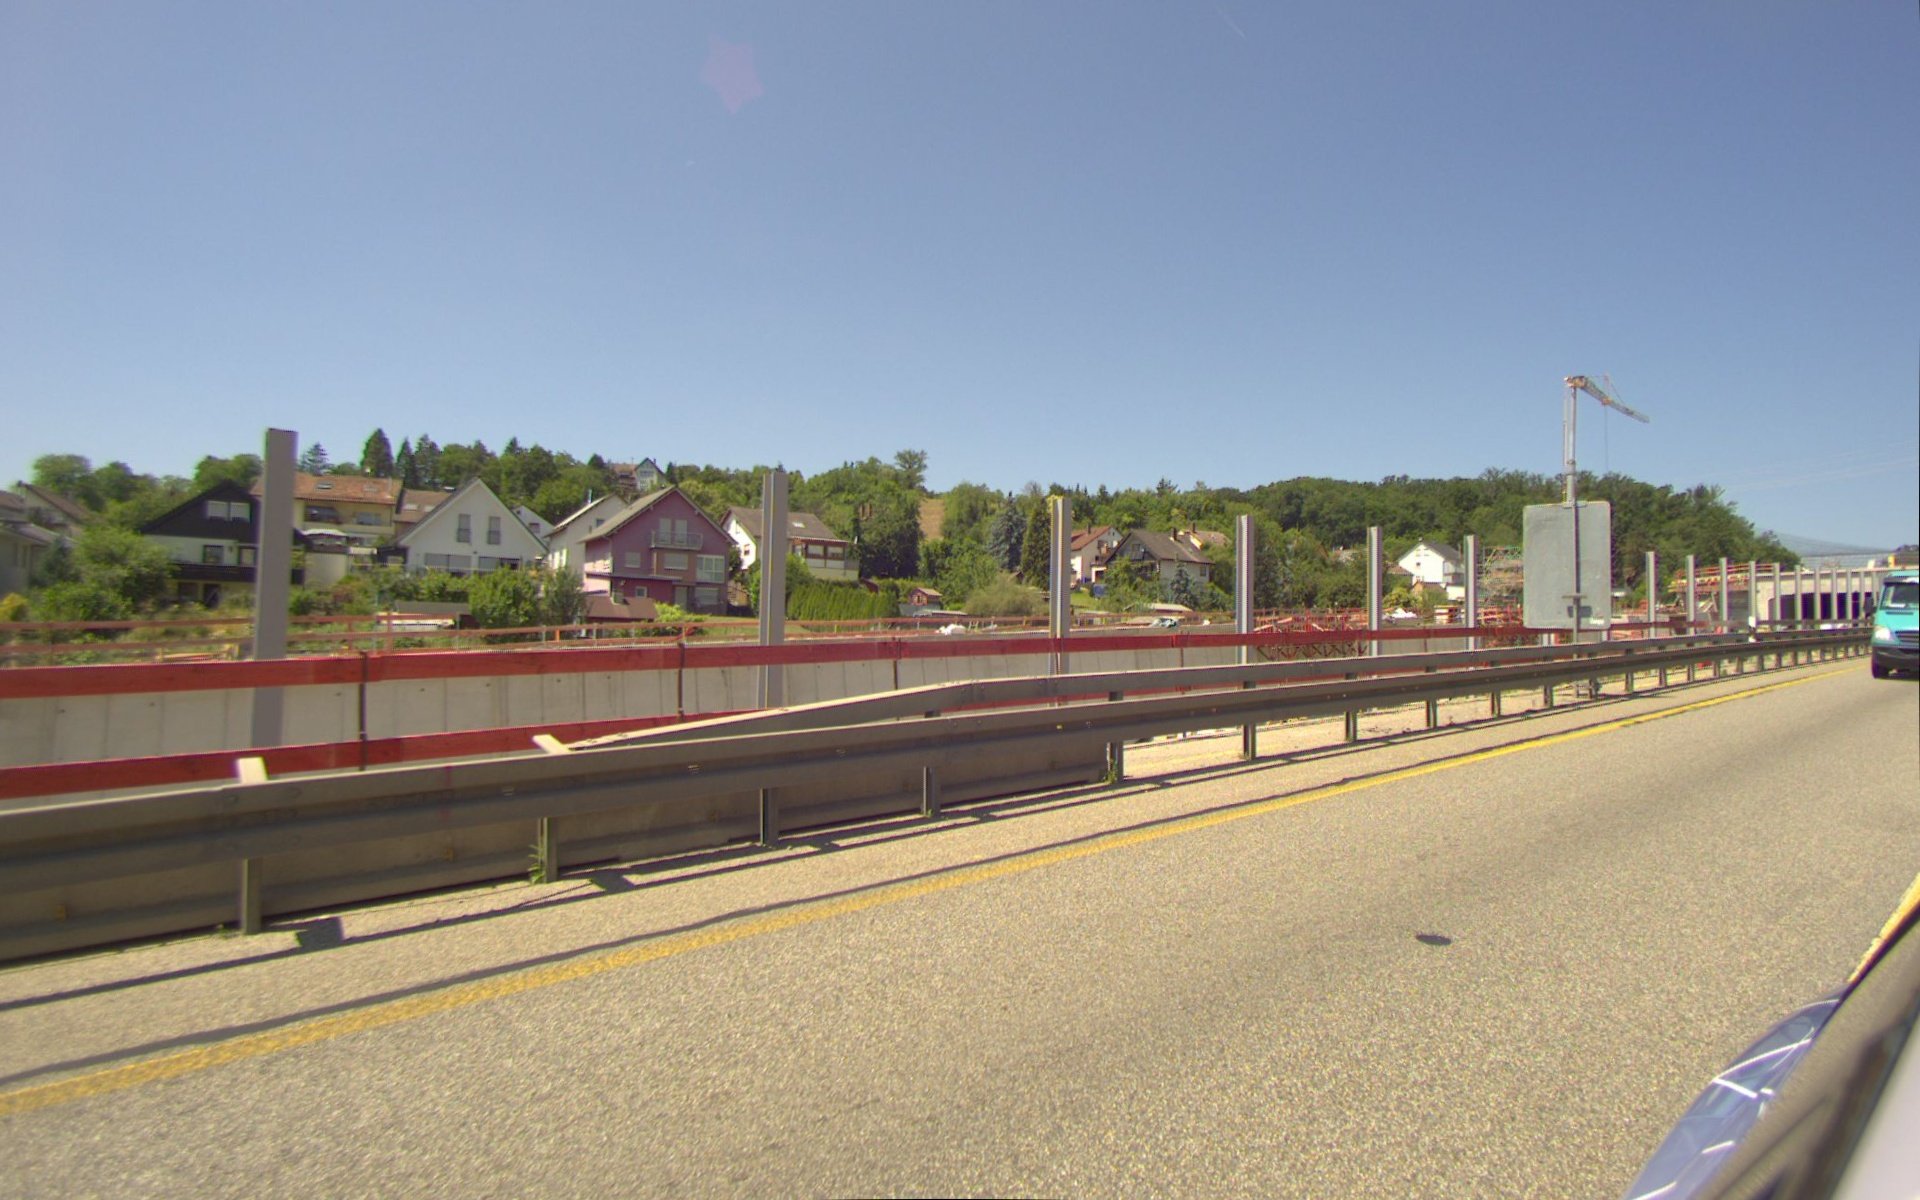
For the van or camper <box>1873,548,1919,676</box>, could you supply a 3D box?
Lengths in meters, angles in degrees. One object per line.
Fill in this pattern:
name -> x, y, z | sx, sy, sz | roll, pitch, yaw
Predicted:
van or camper -> 21.934, 0.255, 22.080 | 7.536, 2.504, 2.096 | 0, 0, -41
